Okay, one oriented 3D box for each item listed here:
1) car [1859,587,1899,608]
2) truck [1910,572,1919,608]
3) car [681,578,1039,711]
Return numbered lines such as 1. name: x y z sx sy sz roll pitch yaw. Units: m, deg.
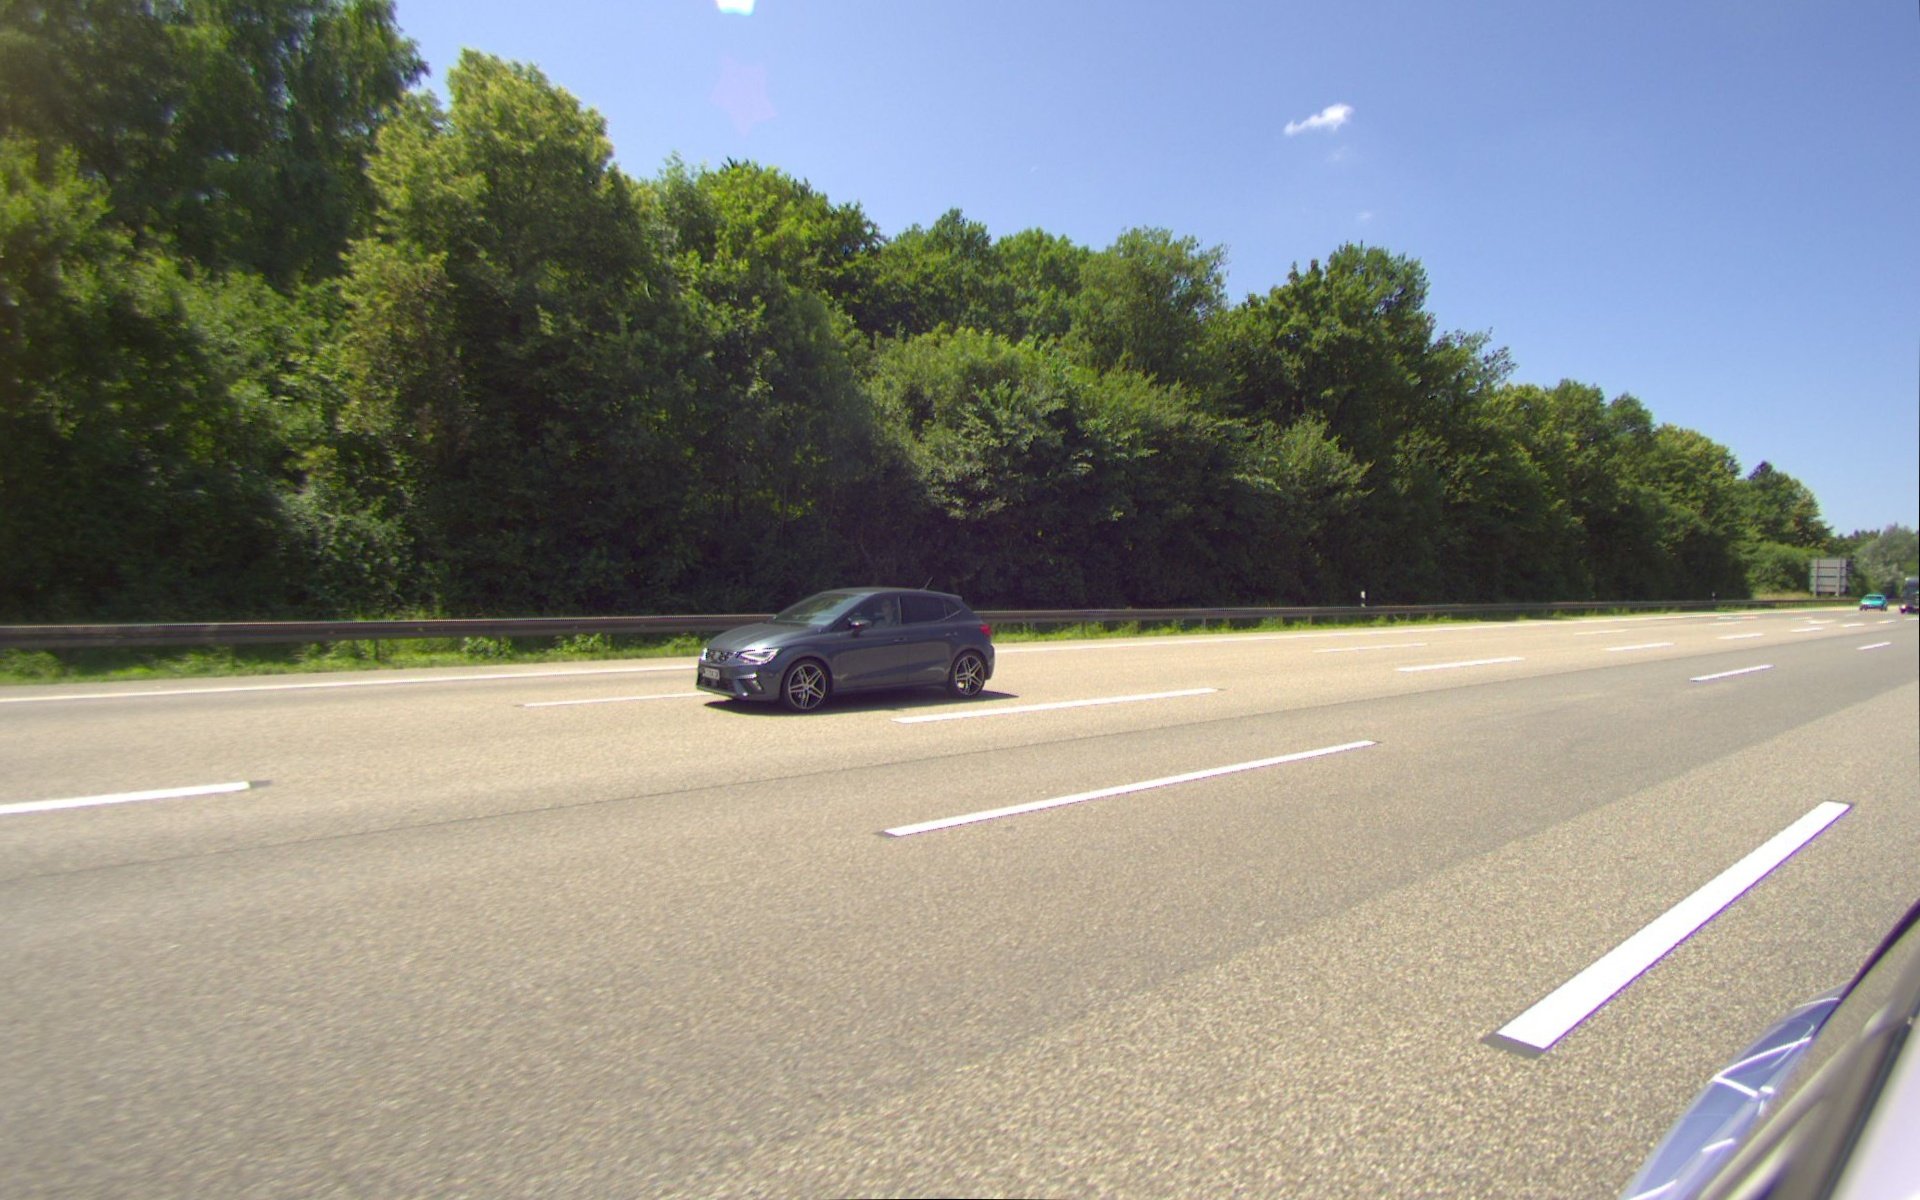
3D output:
1. car: 81.314 -0.205 89.523 4.053 1.701 1.999 0 3 -39
2. truck: 81.668 -0.745 83.942 10.689 2.891 2.661 0 3 -39
3. car: -1.143 0.471 13.155 4.554 1.457 1.646 0 0 -41
